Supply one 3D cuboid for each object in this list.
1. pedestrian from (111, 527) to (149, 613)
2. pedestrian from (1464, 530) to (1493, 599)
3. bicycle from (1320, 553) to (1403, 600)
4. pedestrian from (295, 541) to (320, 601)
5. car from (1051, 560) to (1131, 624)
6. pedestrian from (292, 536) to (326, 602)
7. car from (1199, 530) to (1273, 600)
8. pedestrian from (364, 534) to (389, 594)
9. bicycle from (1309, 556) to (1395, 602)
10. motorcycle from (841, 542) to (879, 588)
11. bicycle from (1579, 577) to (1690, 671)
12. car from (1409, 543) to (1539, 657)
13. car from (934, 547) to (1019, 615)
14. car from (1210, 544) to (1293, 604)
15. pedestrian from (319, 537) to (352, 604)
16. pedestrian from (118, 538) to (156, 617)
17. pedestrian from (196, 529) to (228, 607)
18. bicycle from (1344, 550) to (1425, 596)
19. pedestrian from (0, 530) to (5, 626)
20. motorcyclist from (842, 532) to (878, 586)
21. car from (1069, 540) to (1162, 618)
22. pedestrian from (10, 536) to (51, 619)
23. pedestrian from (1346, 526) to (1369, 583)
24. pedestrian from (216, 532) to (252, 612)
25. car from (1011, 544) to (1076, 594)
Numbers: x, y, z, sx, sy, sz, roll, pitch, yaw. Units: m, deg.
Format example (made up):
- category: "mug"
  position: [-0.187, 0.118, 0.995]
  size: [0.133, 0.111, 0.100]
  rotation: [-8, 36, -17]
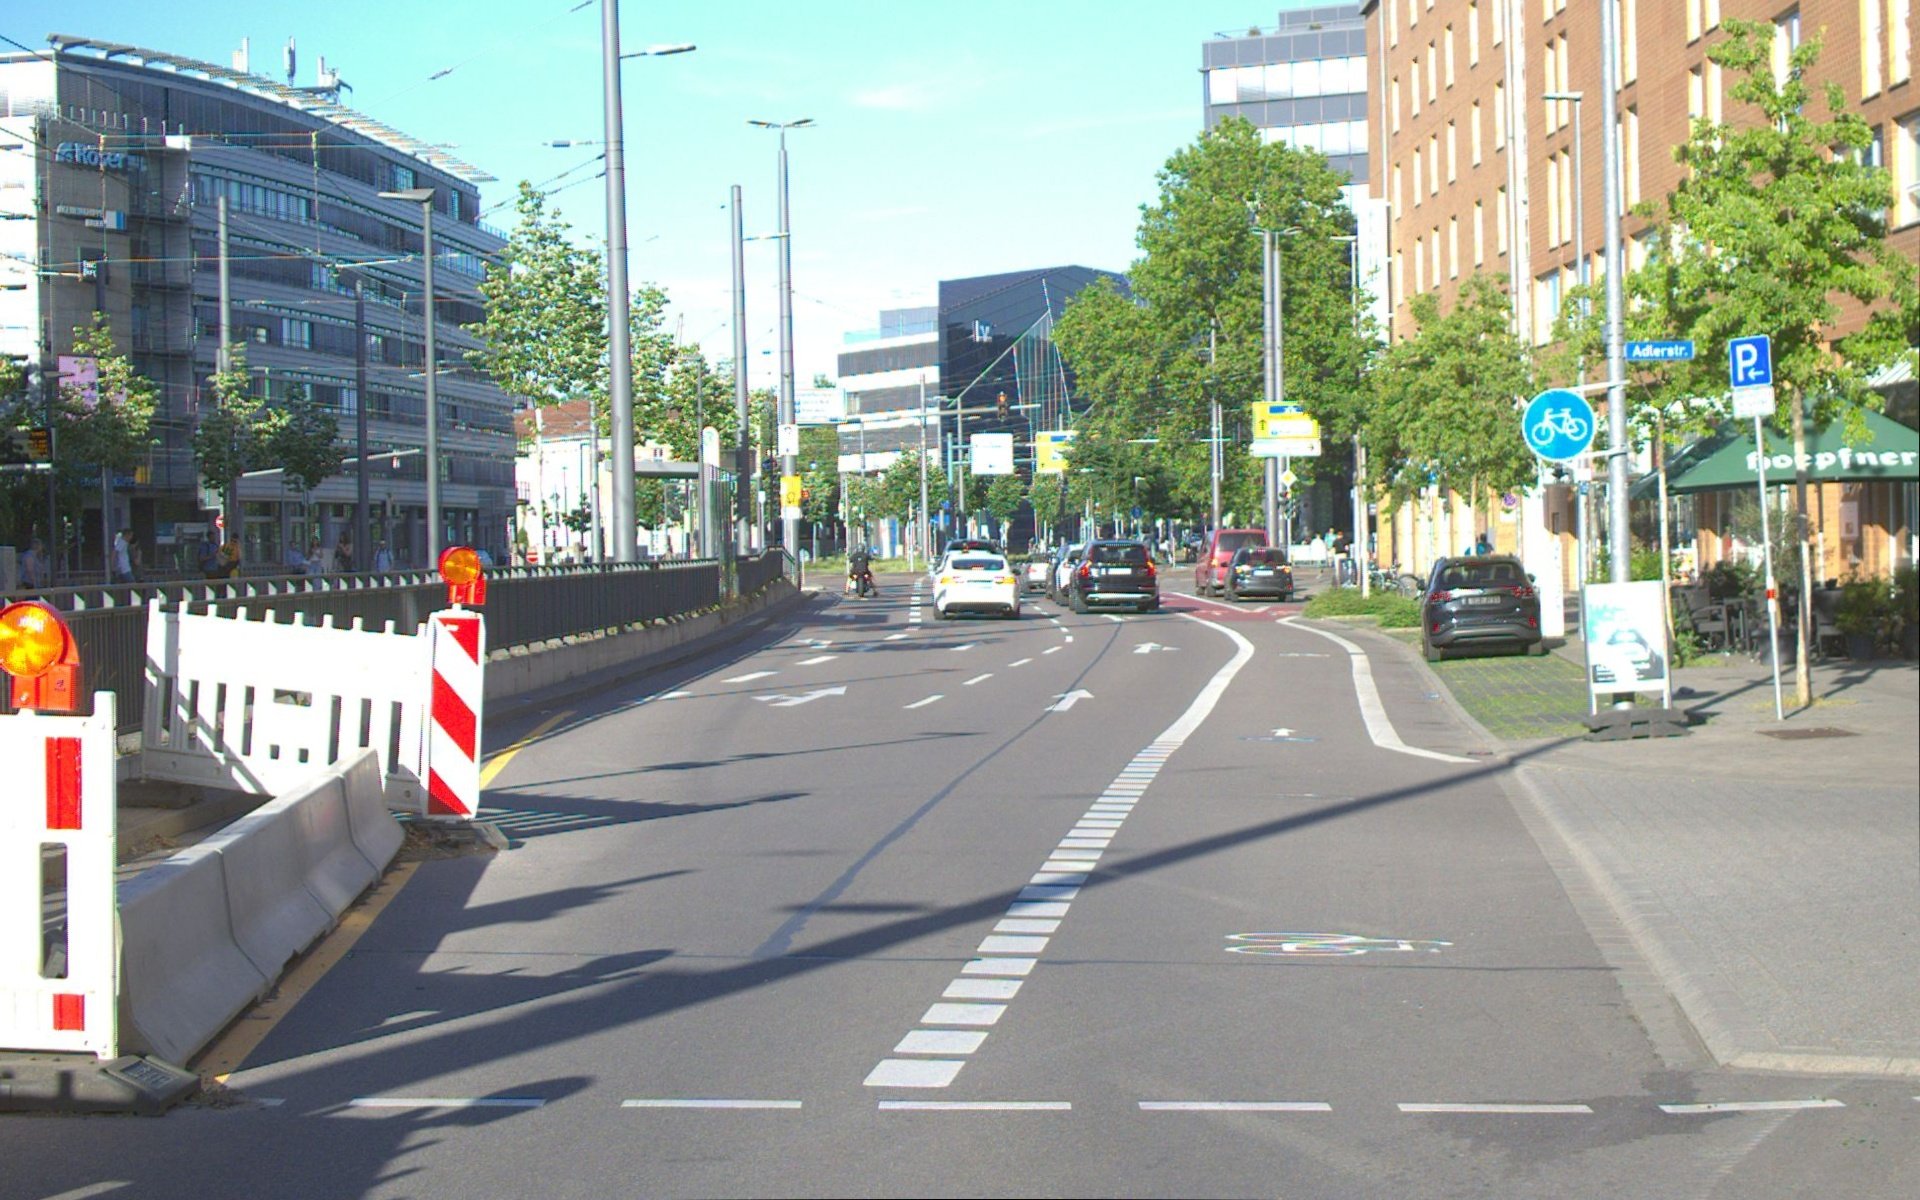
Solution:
- category: "pedestrian"
  position: [-16.693, -0.608, 69.143]
  size: [0.622, 1.709, 0.616]
  rotation: [0, 1, 0]
- category: "pedestrian"
  position: [13.591, -0.932, 90.083]
  size: [0.606, 1.815, 0.748]
  rotation: [-1, 1, -1]
- category: "bicycle"
  position: [9.756, -0.562, 83.552]
  size: [1.946, 1.071, 0.554]
  rotation: [-2, 0, 11]
- category: "pedestrian"
  position: [-17.414, -0.768, 91.732]
  size: [0.563, 1.603, 0.616]
  rotation: [0, 1, 0]
- category: "car"
  position: [3.385, -0.220, 89.263]
  size: [1.851, 1.634, 4.379]
  rotation: [0, 0, -1]
- category: "pedestrian"
  position: [-16.116, -0.771, 85.153]
  size: [0.640, 1.602, 0.945]
  rotation: [1, 1, 0]
- category: "car"
  position: [8.039, -1.049, 100.467]
  size: [1.860, 1.954, 4.000]
  rotation: [-1, 1, 1]
- category: "pedestrian"
  position: [-17.821, -1.098, 105.019]
  size: [0.614, 1.811, 0.897]
  rotation: [0, 1, 0]
- category: "bicycle"
  position: [9.388, -0.499, 82.328]
  size: [1.946, 1.019, 0.501]
  rotation: [-2, 0, 17]
- category: "motorcycle"
  position: [-2.949, -1.042, 101.930]
  size: [1.019, 1.307, 2.915]
  rotation: [1, 1, 0]
- category: "bicycle"
  position: [8.407, 0.299, 42.904]
  size: [0.765, 1.077, 1.998]
  rotation: [-6, 0, -4]
- category: "car"
  position: [7.855, -0.037, 52.833]
  size: [1.721, 1.631, 4.230]
  rotation: [-2, 1, 6]
- category: "car"
  position: [0.332, -0.451, 76.269]
  size: [1.780, 1.409, 4.819]
  rotation: [1, 1, -1]
- category: "car"
  position: [7.959, -0.741, 94.186]
  size: [1.846, 1.555, 4.633]
  rotation: [1, 1, 0]
- category: "pedestrian"
  position: [-15.469, -0.746, 85.150]
  size: [0.640, 1.637, 0.945]
  rotation: [1, 1, 0]
- category: "pedestrian"
  position: [-16.694, -0.457, 69.771]
  size: [0.622, 1.606, 0.616]
  rotation: [0, 1, 0]
- category: "pedestrian"
  position: [-16.608, -0.718, 76.349]
  size: [0.581, 1.732, 0.616]
  rotation: [0, 1, 0]
- category: "bicycle"
  position: [10.688, -0.683, 86.455]
  size: [1.946, 1.071, 0.625]
  rotation: [-2, 0, 12]
- category: "pedestrian"
  position: [-16.387, -0.377, 58.031]
  size: [0.378, 1.616, 0.553]
  rotation: [1, 1, 0]
- category: "motorcyclist"
  position: [-2.952, -1.216, 101.935]
  size: [1.019, 1.598, 1.148]
  rotation: [1, 1, 0]
- category: "car"
  position: [3.665, -0.525, 81.838]
  size: [1.975, 1.753, 4.633]
  rotation: [1, 1, 0]
- category: "pedestrian"
  position: [-16.407, -0.397, 60.696]
  size: [0.539, 1.454, 0.642]
  rotation: [1, 1, 0]
- category: "pedestrian"
  position: [12.592, -1.440, 108.838]
  size: [0.606, 1.815, 0.748]
  rotation: [-1, 1, -1]
- category: "pedestrian"
  position: [-15.485, -0.594, 73.333]
  size: [0.640, 1.690, 0.541]
  rotation: [1, 1, 0]
- category: "car"
  position: [2.555, -0.981, 106.411]
  size: [1.851, 1.492, 4.379]
  rotation: [0, 1, -1]
